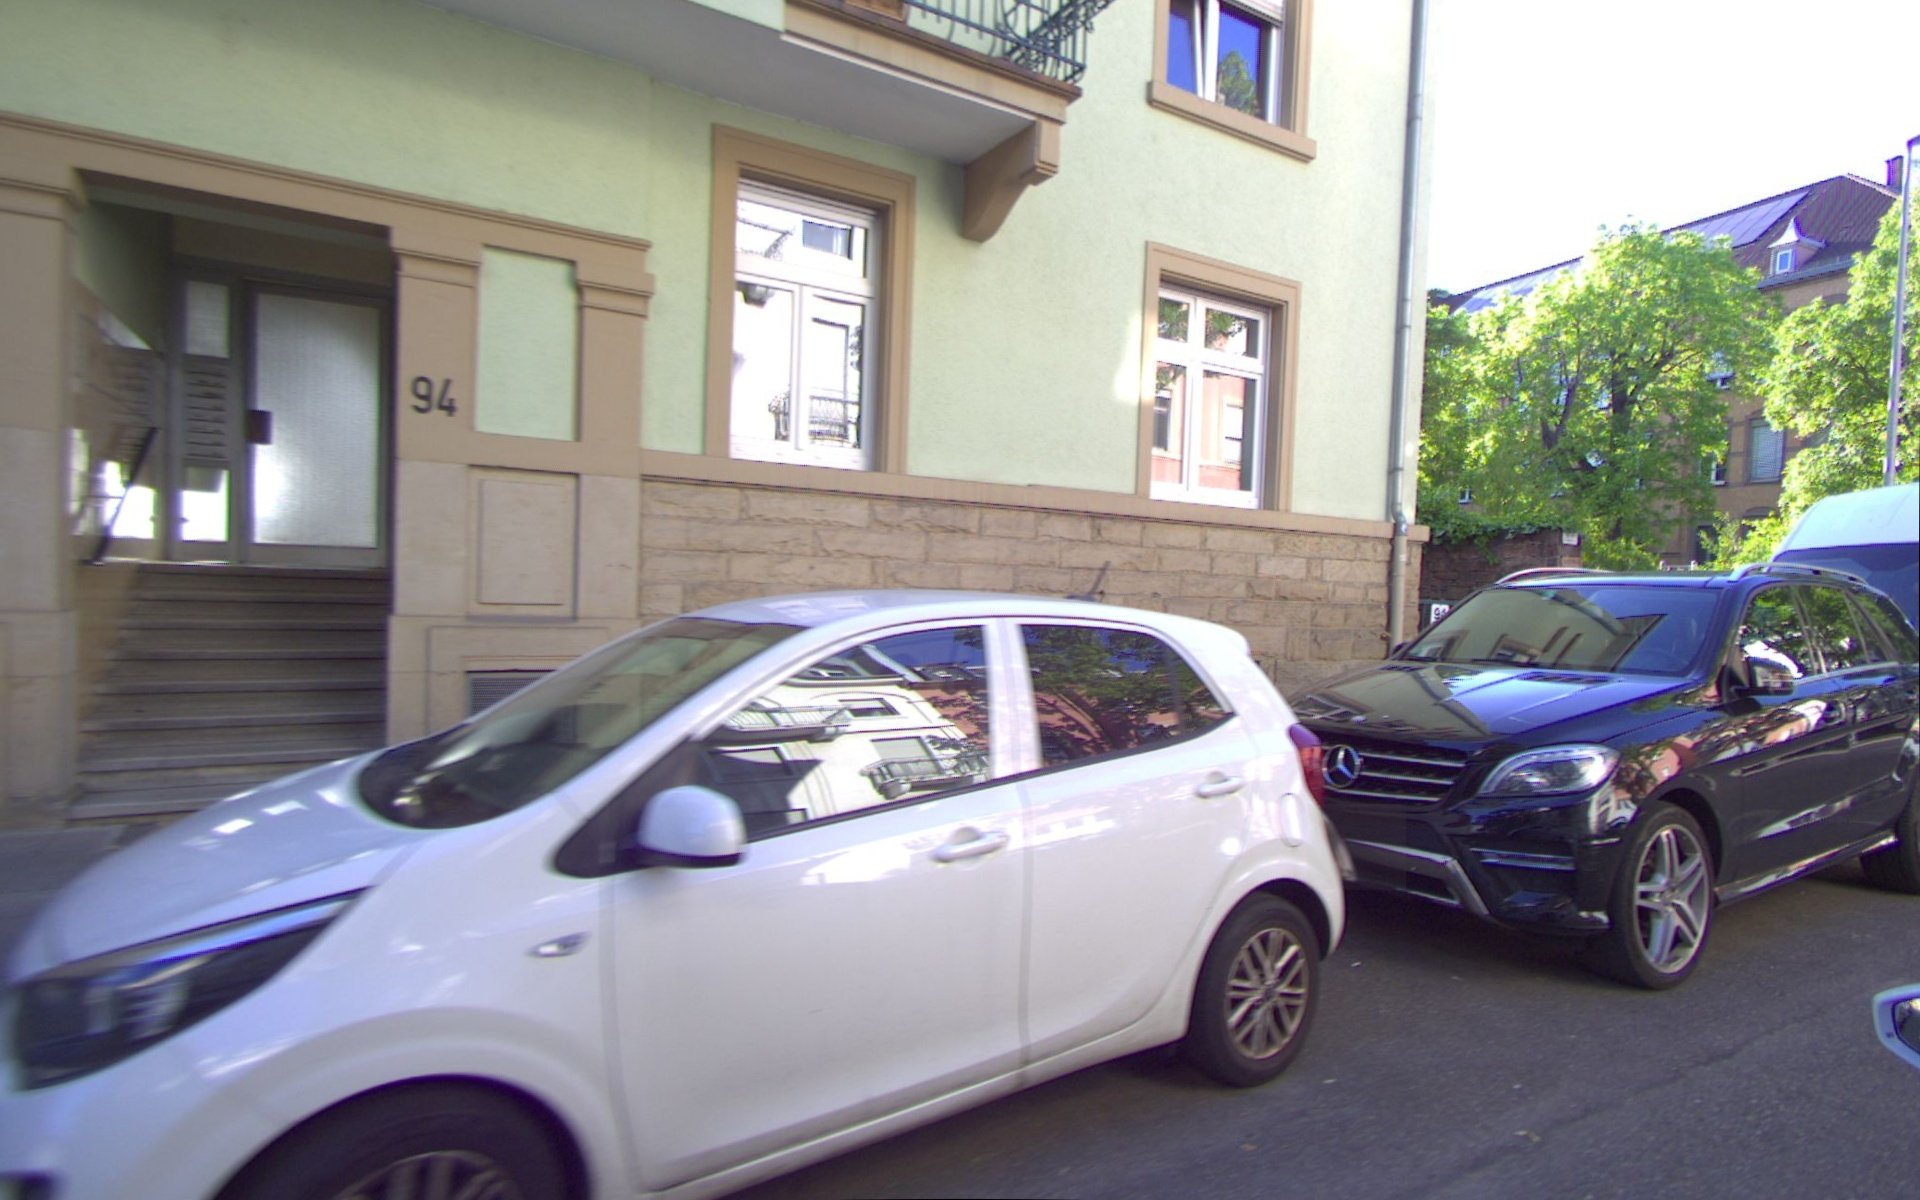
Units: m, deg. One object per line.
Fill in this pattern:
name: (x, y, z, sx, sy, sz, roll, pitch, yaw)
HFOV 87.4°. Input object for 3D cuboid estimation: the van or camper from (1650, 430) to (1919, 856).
van or camper: (8.540, 0.347, 8.593, 5.784, 2.806, 2.118, 2, -1, -31)

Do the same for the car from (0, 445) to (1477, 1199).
car: (-0.516, 0.607, 2.837, 4.043, 1.572, 1.626, 2, 0, -31)

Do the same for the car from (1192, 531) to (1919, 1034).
car: (3.740, 0.669, 5.488, 4.912, 1.708, 1.866, 1, 0, -31)
